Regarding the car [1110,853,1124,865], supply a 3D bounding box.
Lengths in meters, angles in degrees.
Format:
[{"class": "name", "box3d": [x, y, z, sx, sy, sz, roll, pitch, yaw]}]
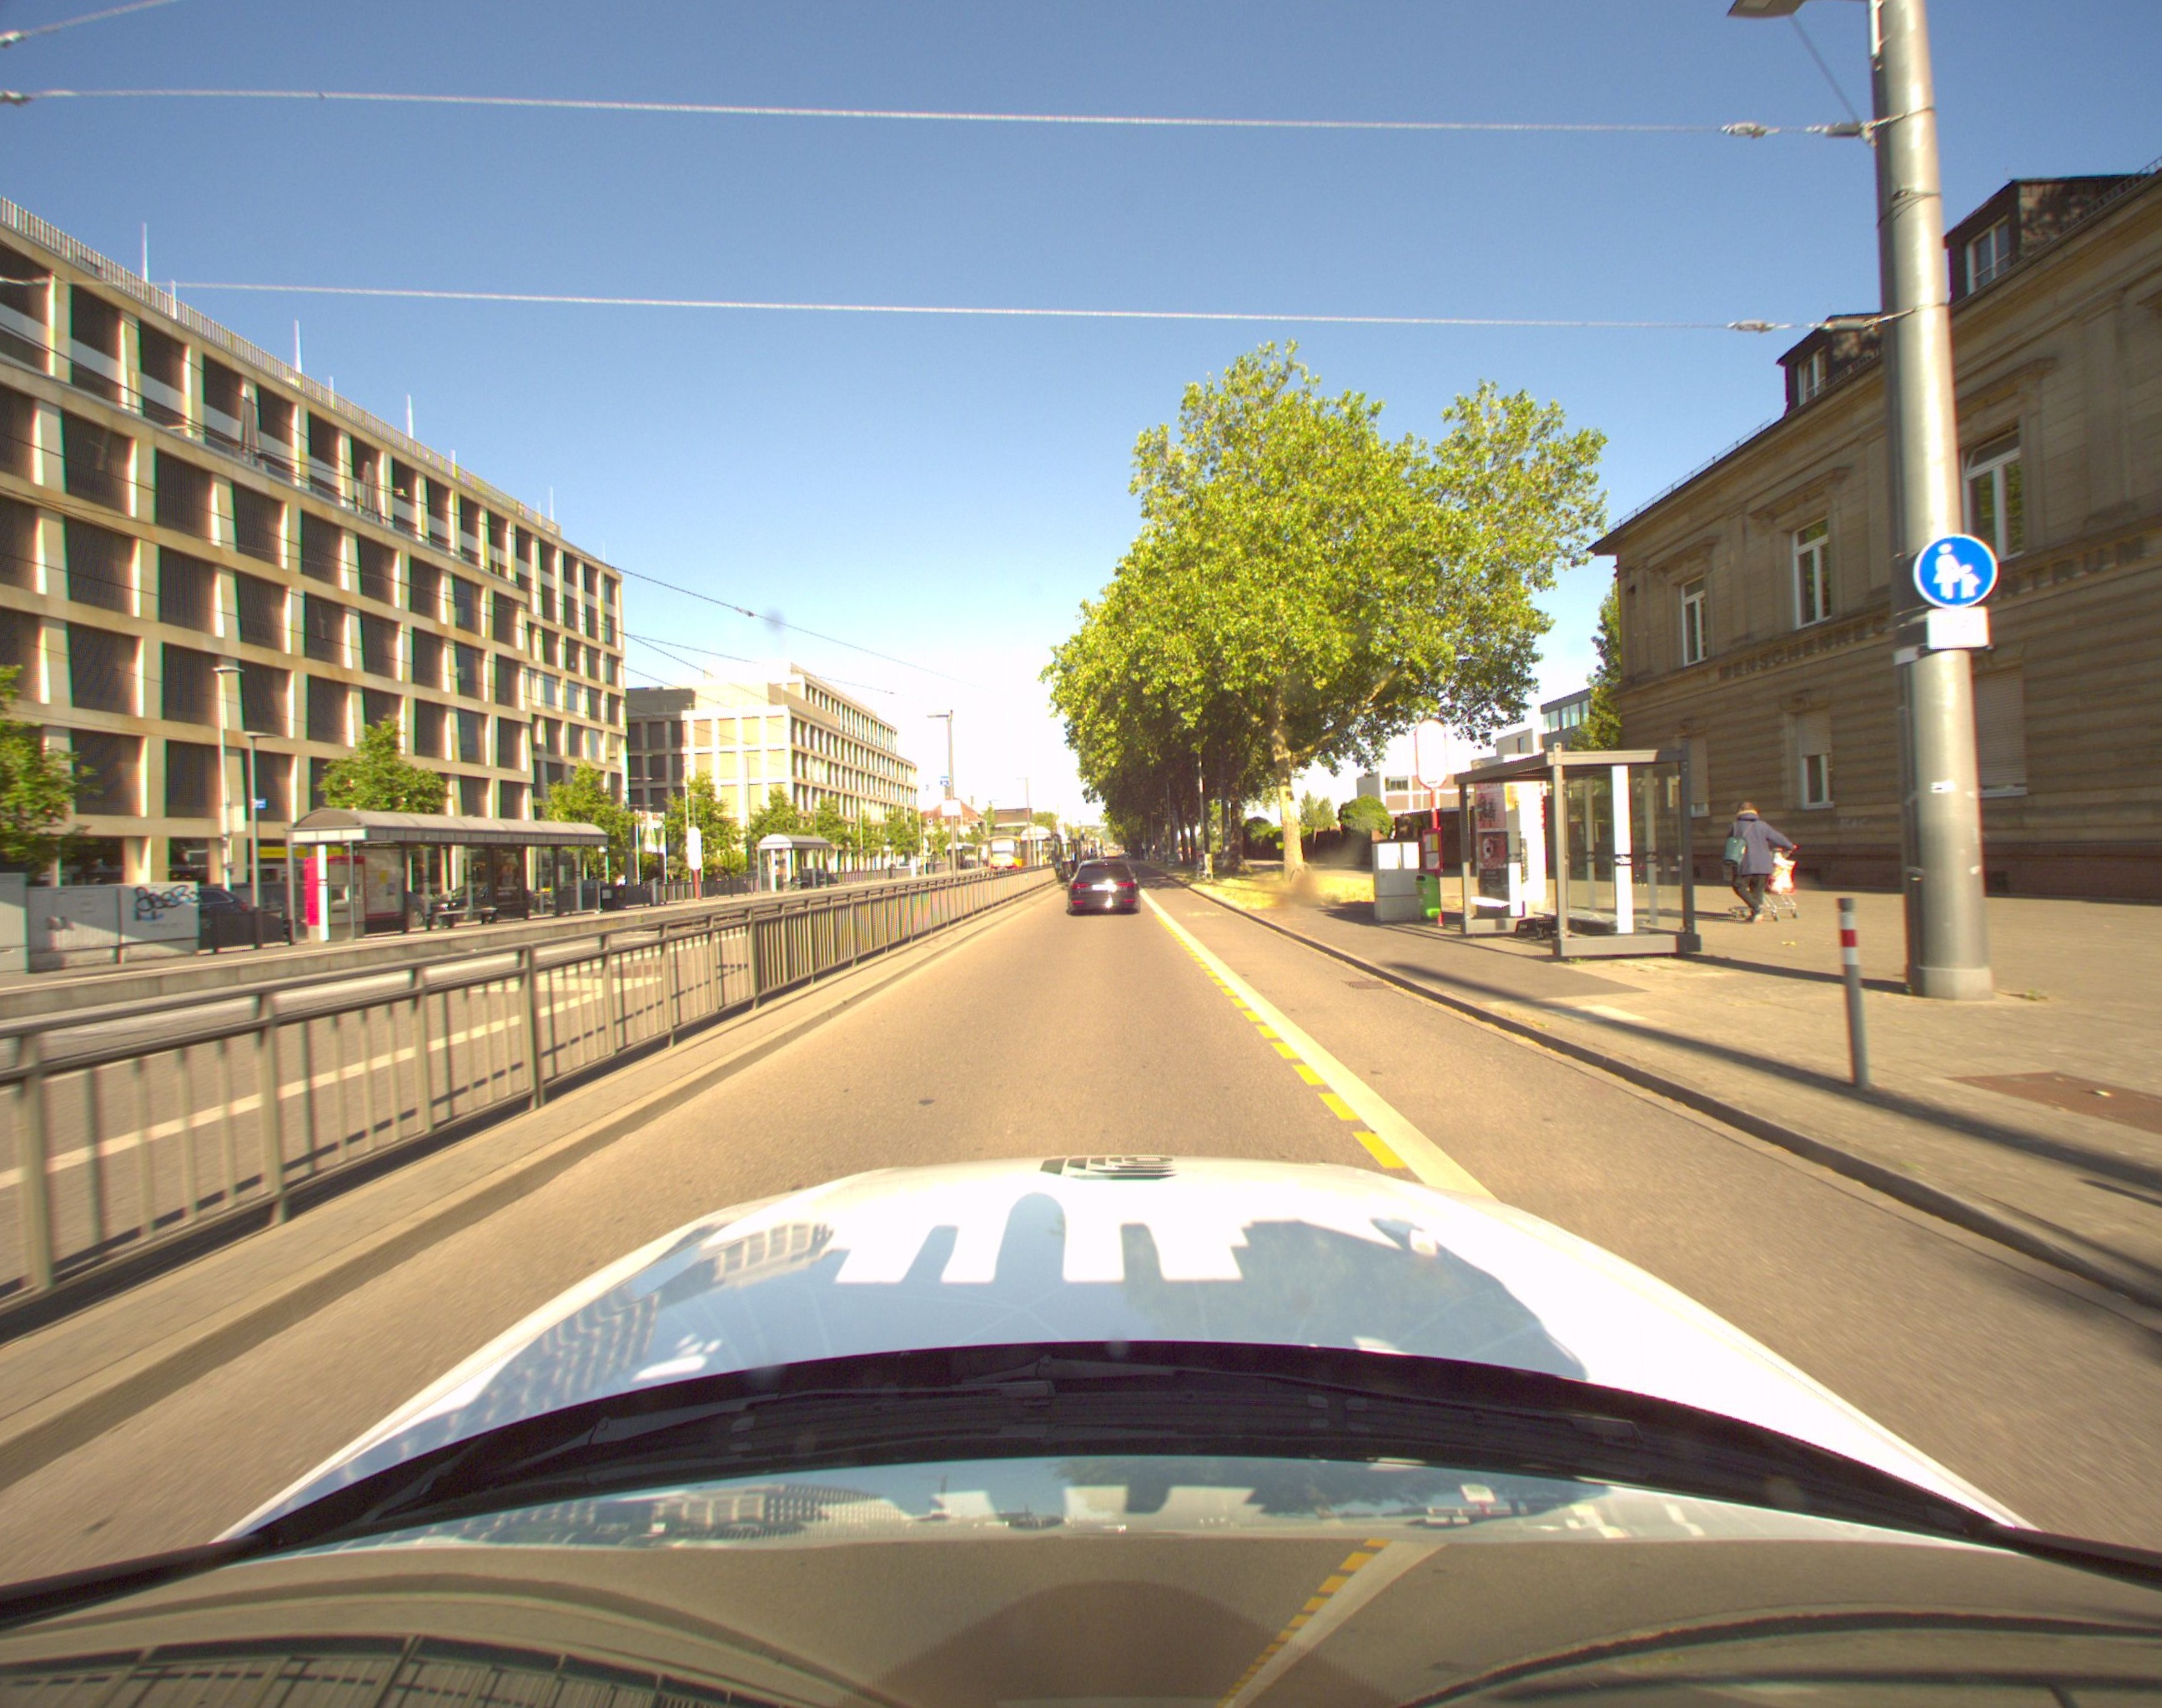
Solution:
[{"class": "car", "box3d": [4.830, 0.652, 110.017, 1.757, 1.619, 4.000, -2, 0, 1]}]

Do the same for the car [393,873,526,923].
[{"class": "car", "box3d": [-24.505, 1.693, 32.332, 1.985, 1.662, 4.004, -2, 0, 3]}]

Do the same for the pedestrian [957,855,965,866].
[{"class": "pedestrian", "box3d": [-13.405, 0.709, 91.090, 0.611, 1.260, 0.726, -2, 0, 7]}]

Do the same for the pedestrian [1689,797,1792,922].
[{"class": "pedestrian", "box3d": [9.794, 0.076, 12.122, 0.768, 1.744, 0.795, -4, 0, -4]}]

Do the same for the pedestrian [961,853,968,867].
[{"class": "pedestrian", "box3d": [-13.391, 0.677, 93.532, 0.610, 1.527, 0.726, -2, 0, 11]}]

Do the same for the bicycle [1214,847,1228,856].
[{"class": "bicycle", "box3d": [17.899, -0.316, 103.968, 1.681, 1.120, 0.439, -4, 0, 1]}]

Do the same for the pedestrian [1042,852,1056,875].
[{"class": "pedestrian", "box3d": [-1.806, 0.546, 45.948, 0.739, 1.274, 0.525, -3, 0, 2]}]

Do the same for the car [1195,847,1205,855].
[{"class": "car", "box3d": [22.427, -0.595, 153.402, 1.607, 1.515, 3.806, -2, 0, 3]}]

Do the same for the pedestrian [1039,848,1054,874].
[{"class": "pedestrian", "box3d": [-2.077, 0.402, 49.286, 0.742, 1.508, 0.667, -3, 0, 5]}]

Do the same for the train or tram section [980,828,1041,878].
[{"class": "train or tram section", "box3d": [-5.947, -0.108, 71.610, 3.295, 3.829, 14.229, -2, 0, 3]}]

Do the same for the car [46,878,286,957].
[{"class": "car", "box3d": [-24.945, 1.661, 22.463, 1.910, 1.769, 4.004, -2, 0, 3]}]

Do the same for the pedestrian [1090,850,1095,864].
[{"class": "pedestrian", "box3d": [1.447, 0.385, 101.776, 0.608, 1.668, 0.614, -2, 0, 4]}]

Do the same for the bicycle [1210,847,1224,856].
[{"class": "bicycle", "box3d": [18.378, -0.351, 110.241, 1.766, 1.120, 0.439, -4, 0, 1]}]

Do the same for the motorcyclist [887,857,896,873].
[{"class": "motorcyclist", "box3d": [-17.886, 1.023, 76.855, 0.573, 1.533, 0.765, -3, 0, 3]}]

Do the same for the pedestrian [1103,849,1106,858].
[{"class": "pedestrian", "box3d": [4.311, -0.111, 151.172, 0.410, 1.716, 0.666, -2, 0, 3]}]

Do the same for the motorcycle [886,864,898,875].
[{"class": "motorcycle", "box3d": [-17.872, 1.461, 76.981, 0.602, 1.021, 1.843, -3, 0, 3]}]

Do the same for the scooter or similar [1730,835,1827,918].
[{"class": "scooter or similar", "box3d": [10.416, 0.327, 12.186, 0.717, 1.155, 0.759, -4, 0, -4]}]

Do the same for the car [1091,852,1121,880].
[{"class": "car", "box3d": [1.547, 0.715, 51.332, 1.757, 1.619, 4.000, -2, 0, 1]}]

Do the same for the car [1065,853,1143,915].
[{"class": "car", "box3d": [0.594, 0.755, 21.977, 1.872, 1.457, 3.357, -2, 0, 0]}]

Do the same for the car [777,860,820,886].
[{"class": "car", "box3d": [-23.286, 1.538, 67.243, 1.987, 2.013, 4.000, -2, 0, 0]}]
